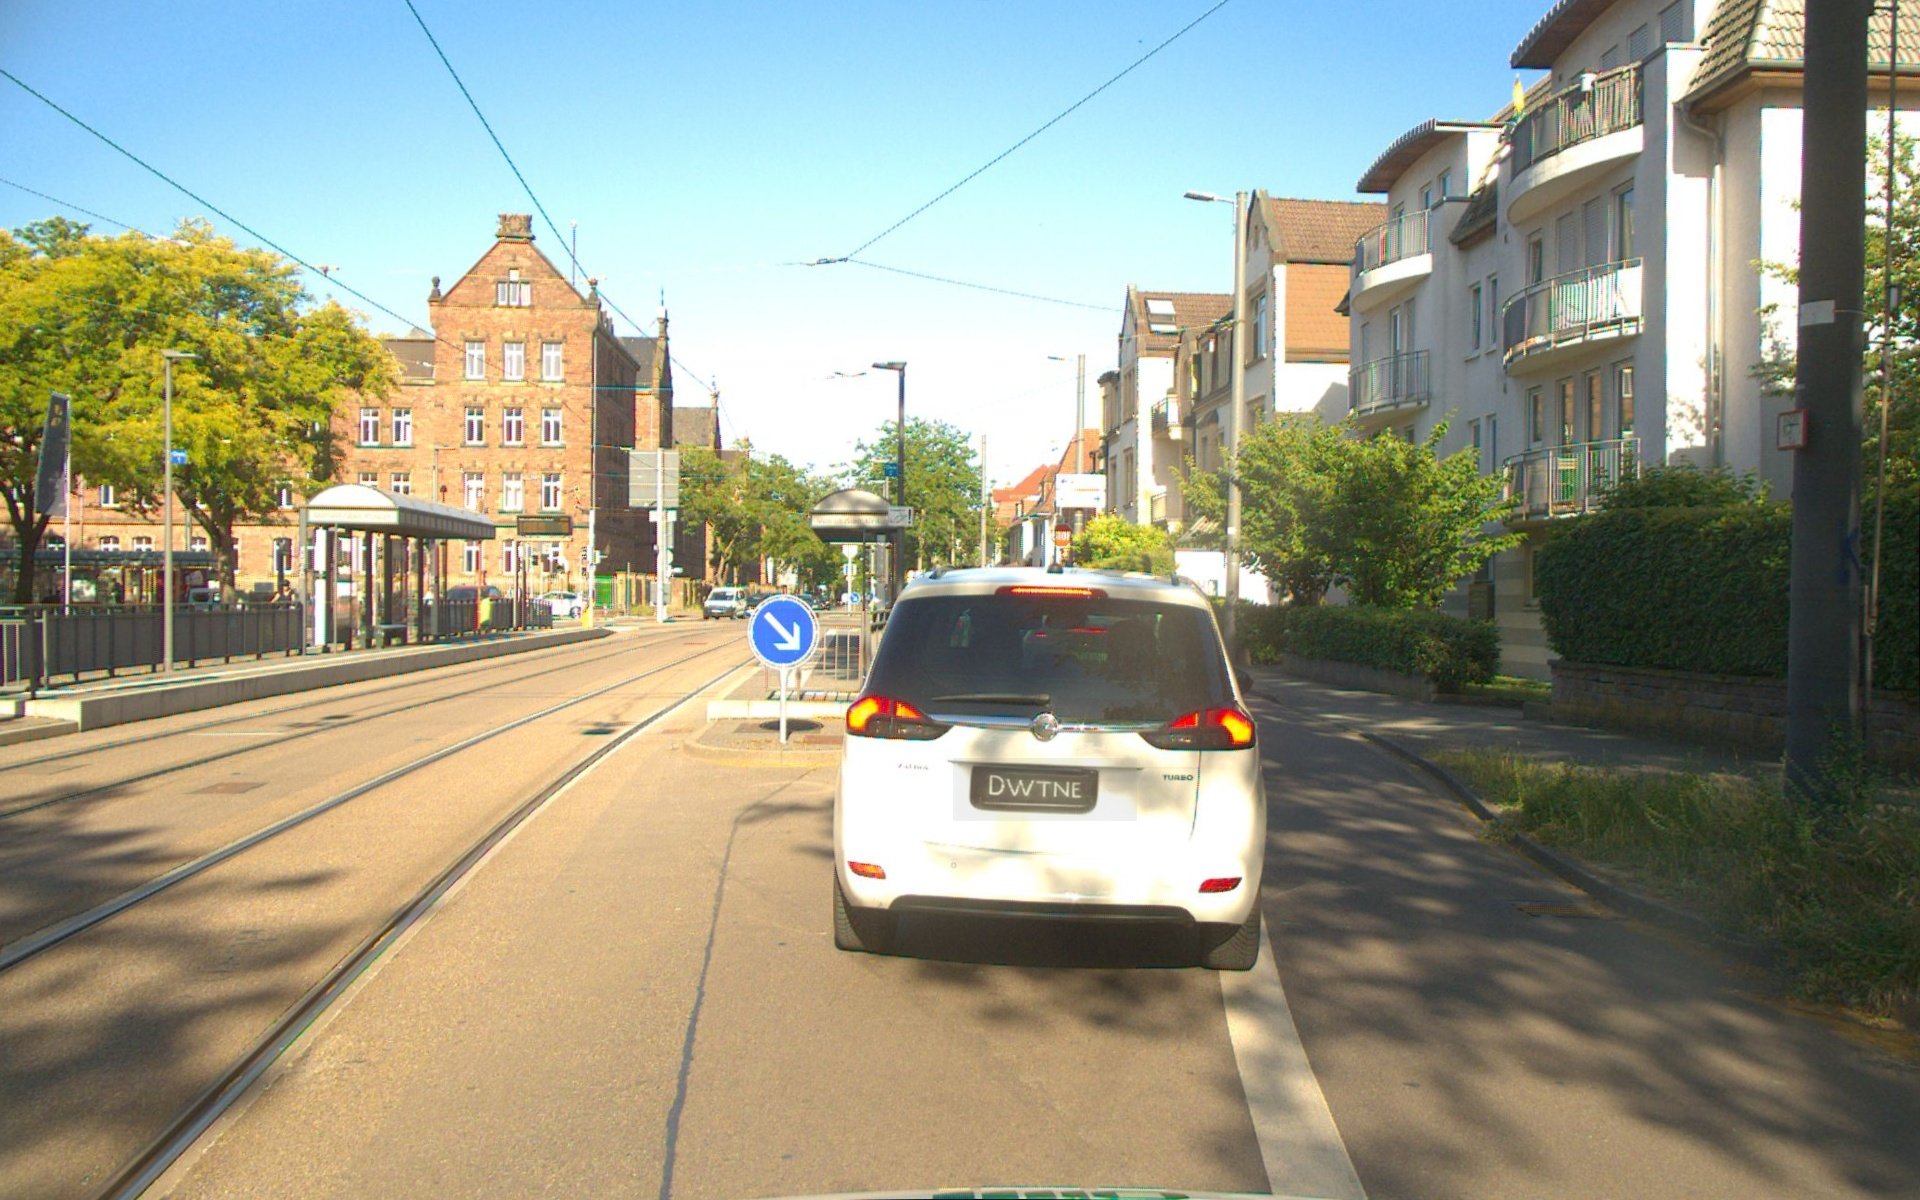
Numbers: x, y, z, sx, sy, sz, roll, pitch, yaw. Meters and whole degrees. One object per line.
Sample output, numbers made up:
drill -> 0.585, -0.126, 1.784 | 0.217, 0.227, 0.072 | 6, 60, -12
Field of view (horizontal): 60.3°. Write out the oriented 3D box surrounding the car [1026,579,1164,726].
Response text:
car -> 1.720, 0.592, 21.046 | 1.536, 1.643, 3.786 | 2, 0, 5

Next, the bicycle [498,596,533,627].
bicycle -> -18.525, 0.474, 68.991 | 0.760, 1.252, 2.090 | 0, 0, 4

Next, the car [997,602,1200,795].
car -> 1.232, 0.765, 14.787 | 1.536, 1.426, 3.786 | 2, 0, 5

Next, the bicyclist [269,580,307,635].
bicyclist -> -18.217, 0.198, 44.823 | 0.640, 1.485, 1.151 | 0, 0, -6

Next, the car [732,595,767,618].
car -> -13.389, 0.395, 105.424 | 1.762, 1.406, 4.494 | 0, 1, -1

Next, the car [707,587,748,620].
car -> -13.230, 0.203, 94.355 | 1.790, 1.819, 4.254 | 0, 0, -1

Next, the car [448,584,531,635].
car -> -15.866, 0.310, 55.962 | 1.782, 1.635, 4.356 | 0, 0, -3

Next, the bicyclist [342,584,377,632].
bicyclist -> -18.587, 0.239, 51.223 | 0.639, 1.485, 1.152 | 0, 0, 1

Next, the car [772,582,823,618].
car -> -9.430, -0.009, 95.736 | 1.964, 2.049, 3.976 | 0, 0, -20

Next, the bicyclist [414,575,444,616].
bicyclist -> -19.743, -0.156, 61.528 | 0.741, 1.496, 1.190 | 0, 0, -3

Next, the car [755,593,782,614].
car -> -14.287, 0.266, 123.615 | 1.791, 1.471, 4.324 | 1, -1, -4

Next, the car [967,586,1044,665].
car -> 1.011, 0.560, 38.281 | 1.563, 1.663, 3.900 | 2, 0, -1

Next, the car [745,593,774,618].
car -> -14.036, 0.409, 116.042 | 1.791, 1.645, 4.323 | 1, -1, -5

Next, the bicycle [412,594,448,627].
bicycle -> -19.750, 0.382, 61.618 | 0.799, 1.219, 1.951 | 0, 0, -3

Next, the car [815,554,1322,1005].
car -> 0.554, 0.642, 8.085 | 1.838, 1.613, 4.002 | 1, 0, 5

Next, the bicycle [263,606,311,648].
bicycle -> -18.216, 0.714, 44.829 | 0.671, 1.108, 2.061 | 0, 0, -7

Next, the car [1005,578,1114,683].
car -> 1.690, 0.493, 29.183 | 1.563, 1.663, 3.900 | 2, 0, -1

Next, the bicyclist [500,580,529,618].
bicyclist -> -18.550, -0.042, 68.932 | 0.744, 1.563, 1.349 | 0, 0, 5

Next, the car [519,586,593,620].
car -> -22.509, 0.180, 92.177 | 3.917, 1.841, 1.699 | 0, 0, -12
